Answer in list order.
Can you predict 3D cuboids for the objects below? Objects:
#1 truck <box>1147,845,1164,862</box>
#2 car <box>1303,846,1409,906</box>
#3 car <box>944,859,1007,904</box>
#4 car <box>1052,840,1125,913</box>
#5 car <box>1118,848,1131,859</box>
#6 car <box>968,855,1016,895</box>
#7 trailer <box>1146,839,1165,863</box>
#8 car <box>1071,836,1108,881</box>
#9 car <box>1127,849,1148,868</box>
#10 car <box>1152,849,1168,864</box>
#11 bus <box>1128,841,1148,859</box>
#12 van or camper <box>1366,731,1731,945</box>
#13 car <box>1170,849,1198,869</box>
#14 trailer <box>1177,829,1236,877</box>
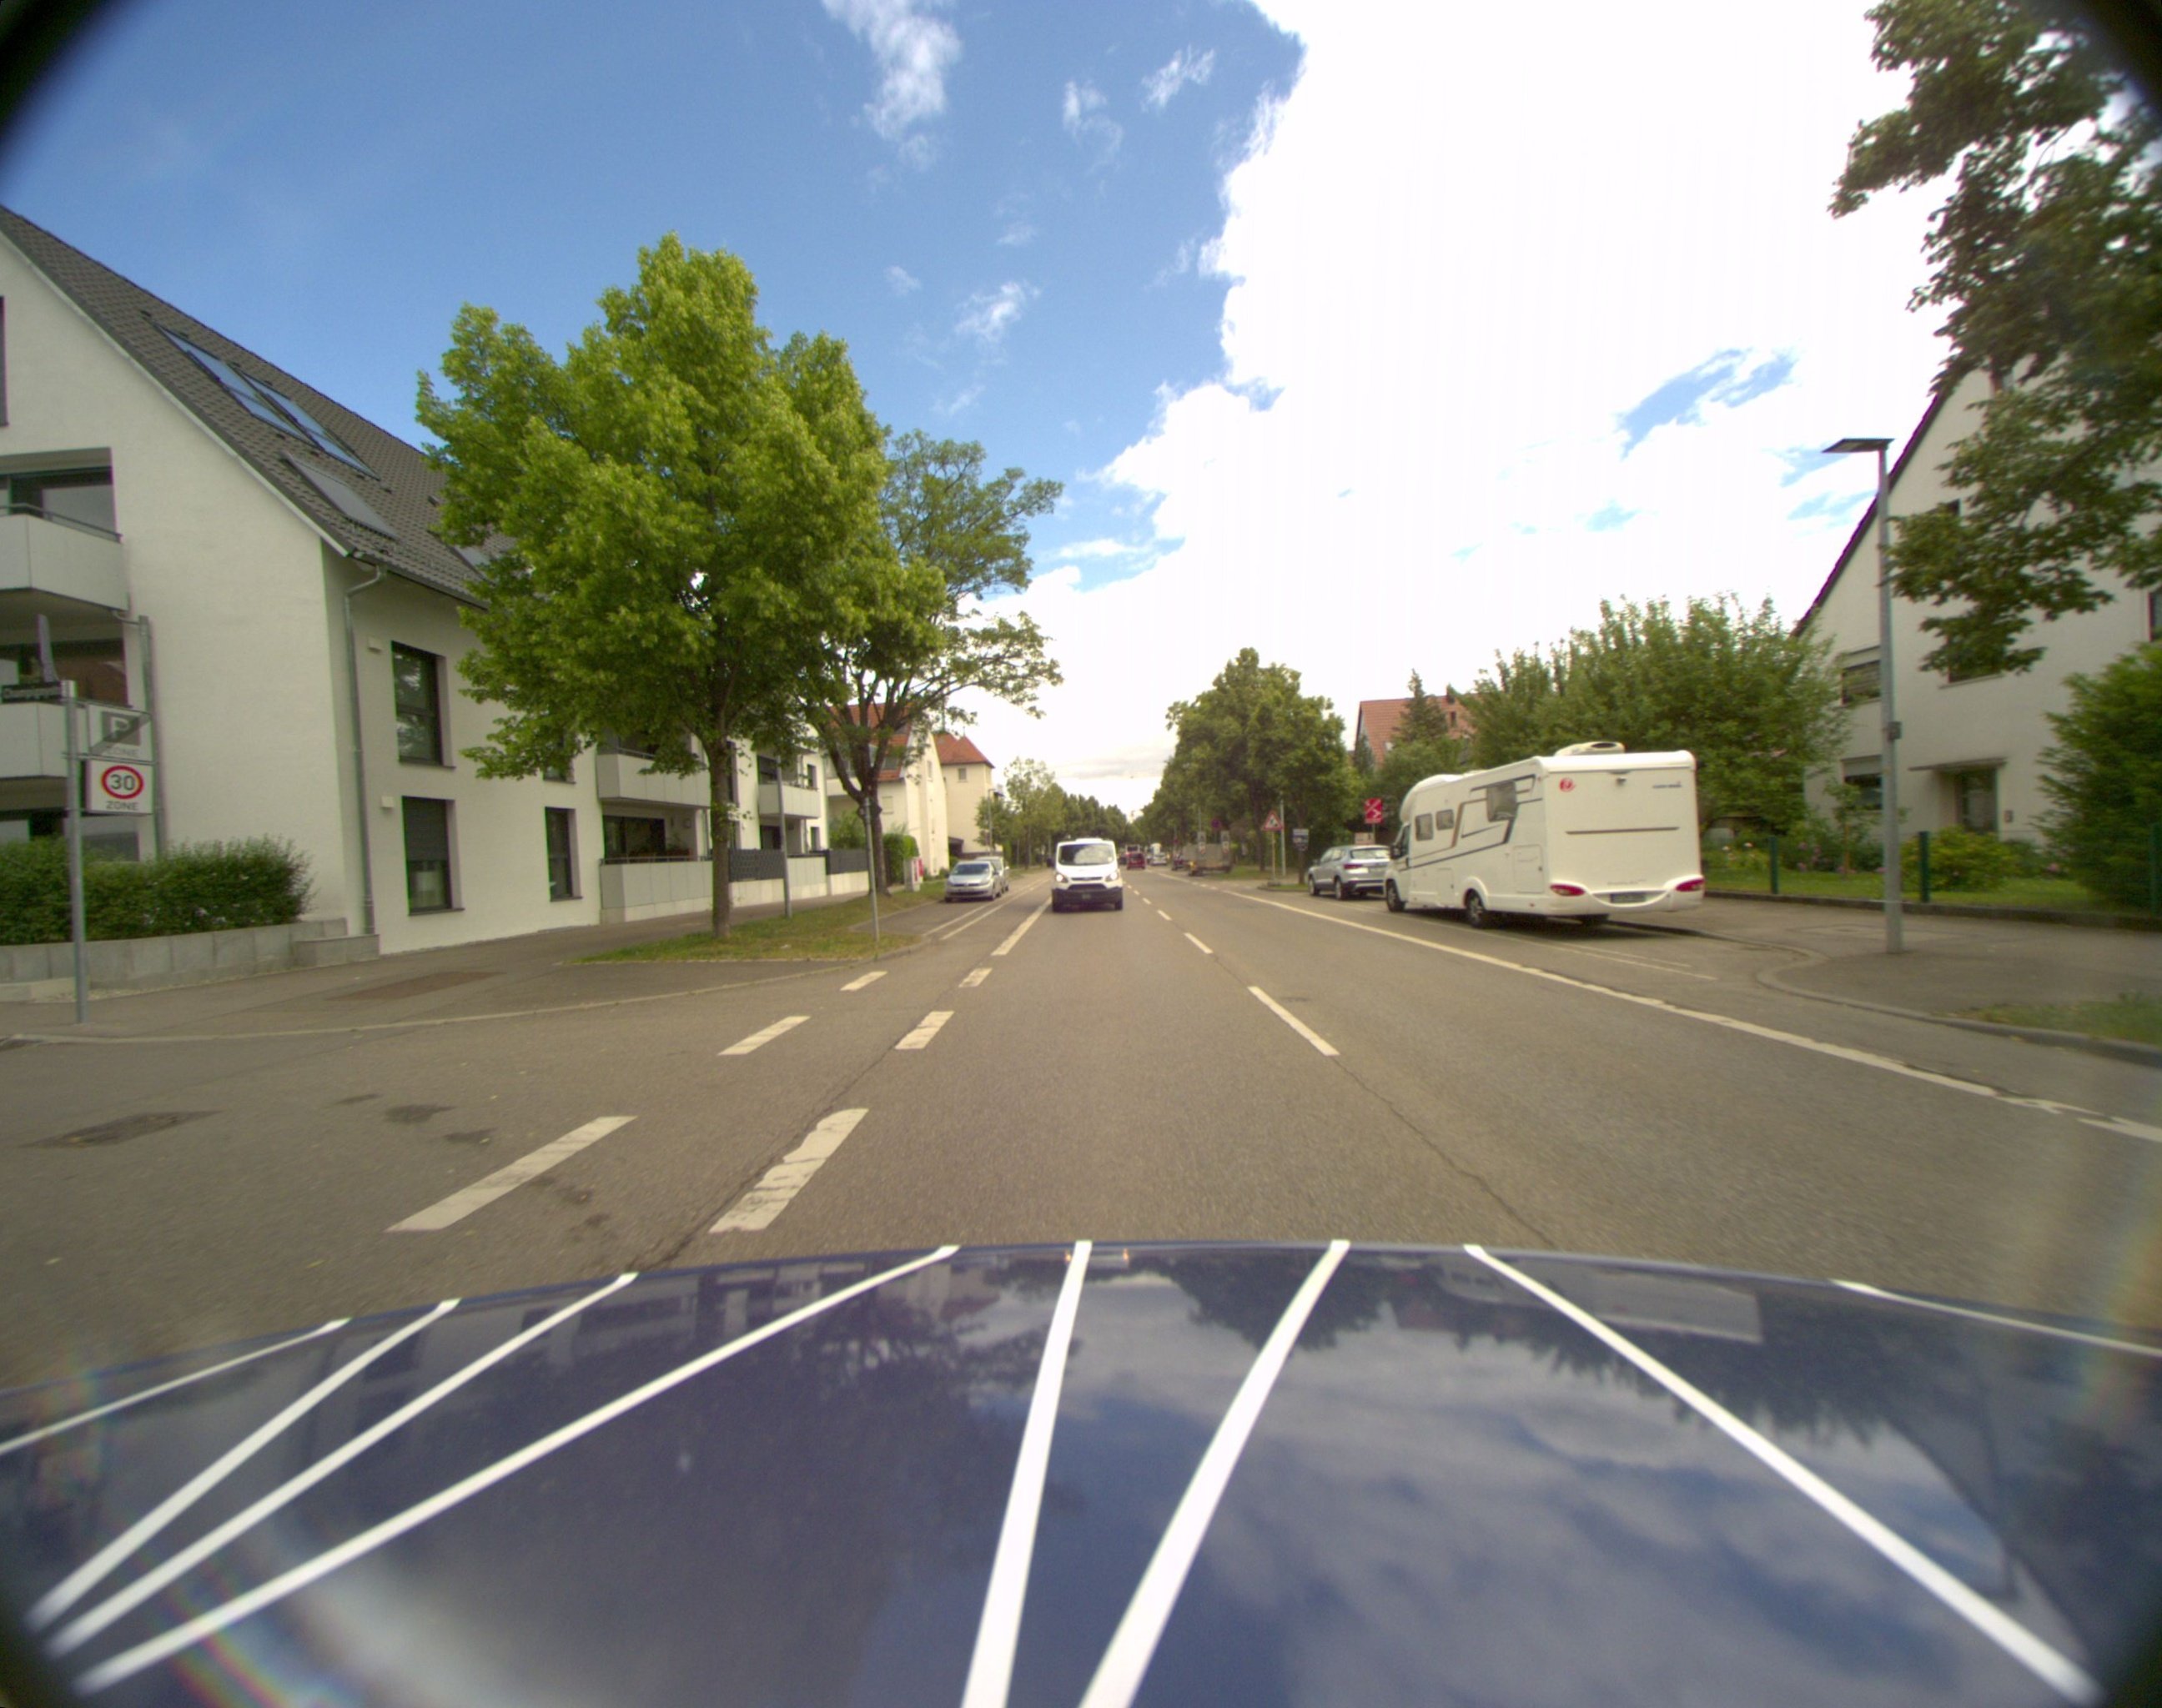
[{"bbox_3d":[10.512,-0.077,106.827,2.300,2.274,6.465,-2,0,6],"label":"truck"},{"bbox_3d":[8.268,0.603,23.249,1.727,1.591,4.272,-2,0,1],"label":"car"},{"bbox_3d":[-3.892,0.966,28.693,1.691,1.484,4.227,-2,0,1],"label":"car"},{"bbox_3d":[0.269,0.633,24.186,1.998,2.002,5.318,-2,0,1],"label":"car"},{"bbox_3d":[6.799,-0.086,119.538,1.998,1.658,4.590,-1,0,2],"label":"car"},{"bbox_3d":[-4.014,0.897,34.770,1.636,1.656,3.648,-2,0,1],"label":"car"},{"bbox_3d":[9.872,-0.389,100.122,2.377,2.946,7.013,-2,0,6],"label":"trailer"},{"bbox_3d":[0.563,0.249,46.821,1.998,2.584,4.001,-3,0,3],"label":"car"},{"bbox_3d":[5.742,0.401,77.336,1.764,1.792,4.769,-2,0,1],"label":"car"},{"bbox_3d":[9.718,0.307,93.528,1.693,1.674,4.225,-2,1,2],"label":"car"},{"bbox_3d":[11.481,-0.827,151.208,2.810,3.269,18.053,1,1,7],"label":"bus"},{"bbox_3d":[8.170,-0.242,14.794,2.441,2.992,7.693,-2,0,1],"label":"van or camper"},{"bbox_3d":[9.049,0.413,66.883,1.865,1.544,4.618,-2,2,1],"label":"car"},{"bbox_3d":[8.505,-0.119,52.360,2.680,2.924,7.474,-3,1,0],"label":"trailer"}]
